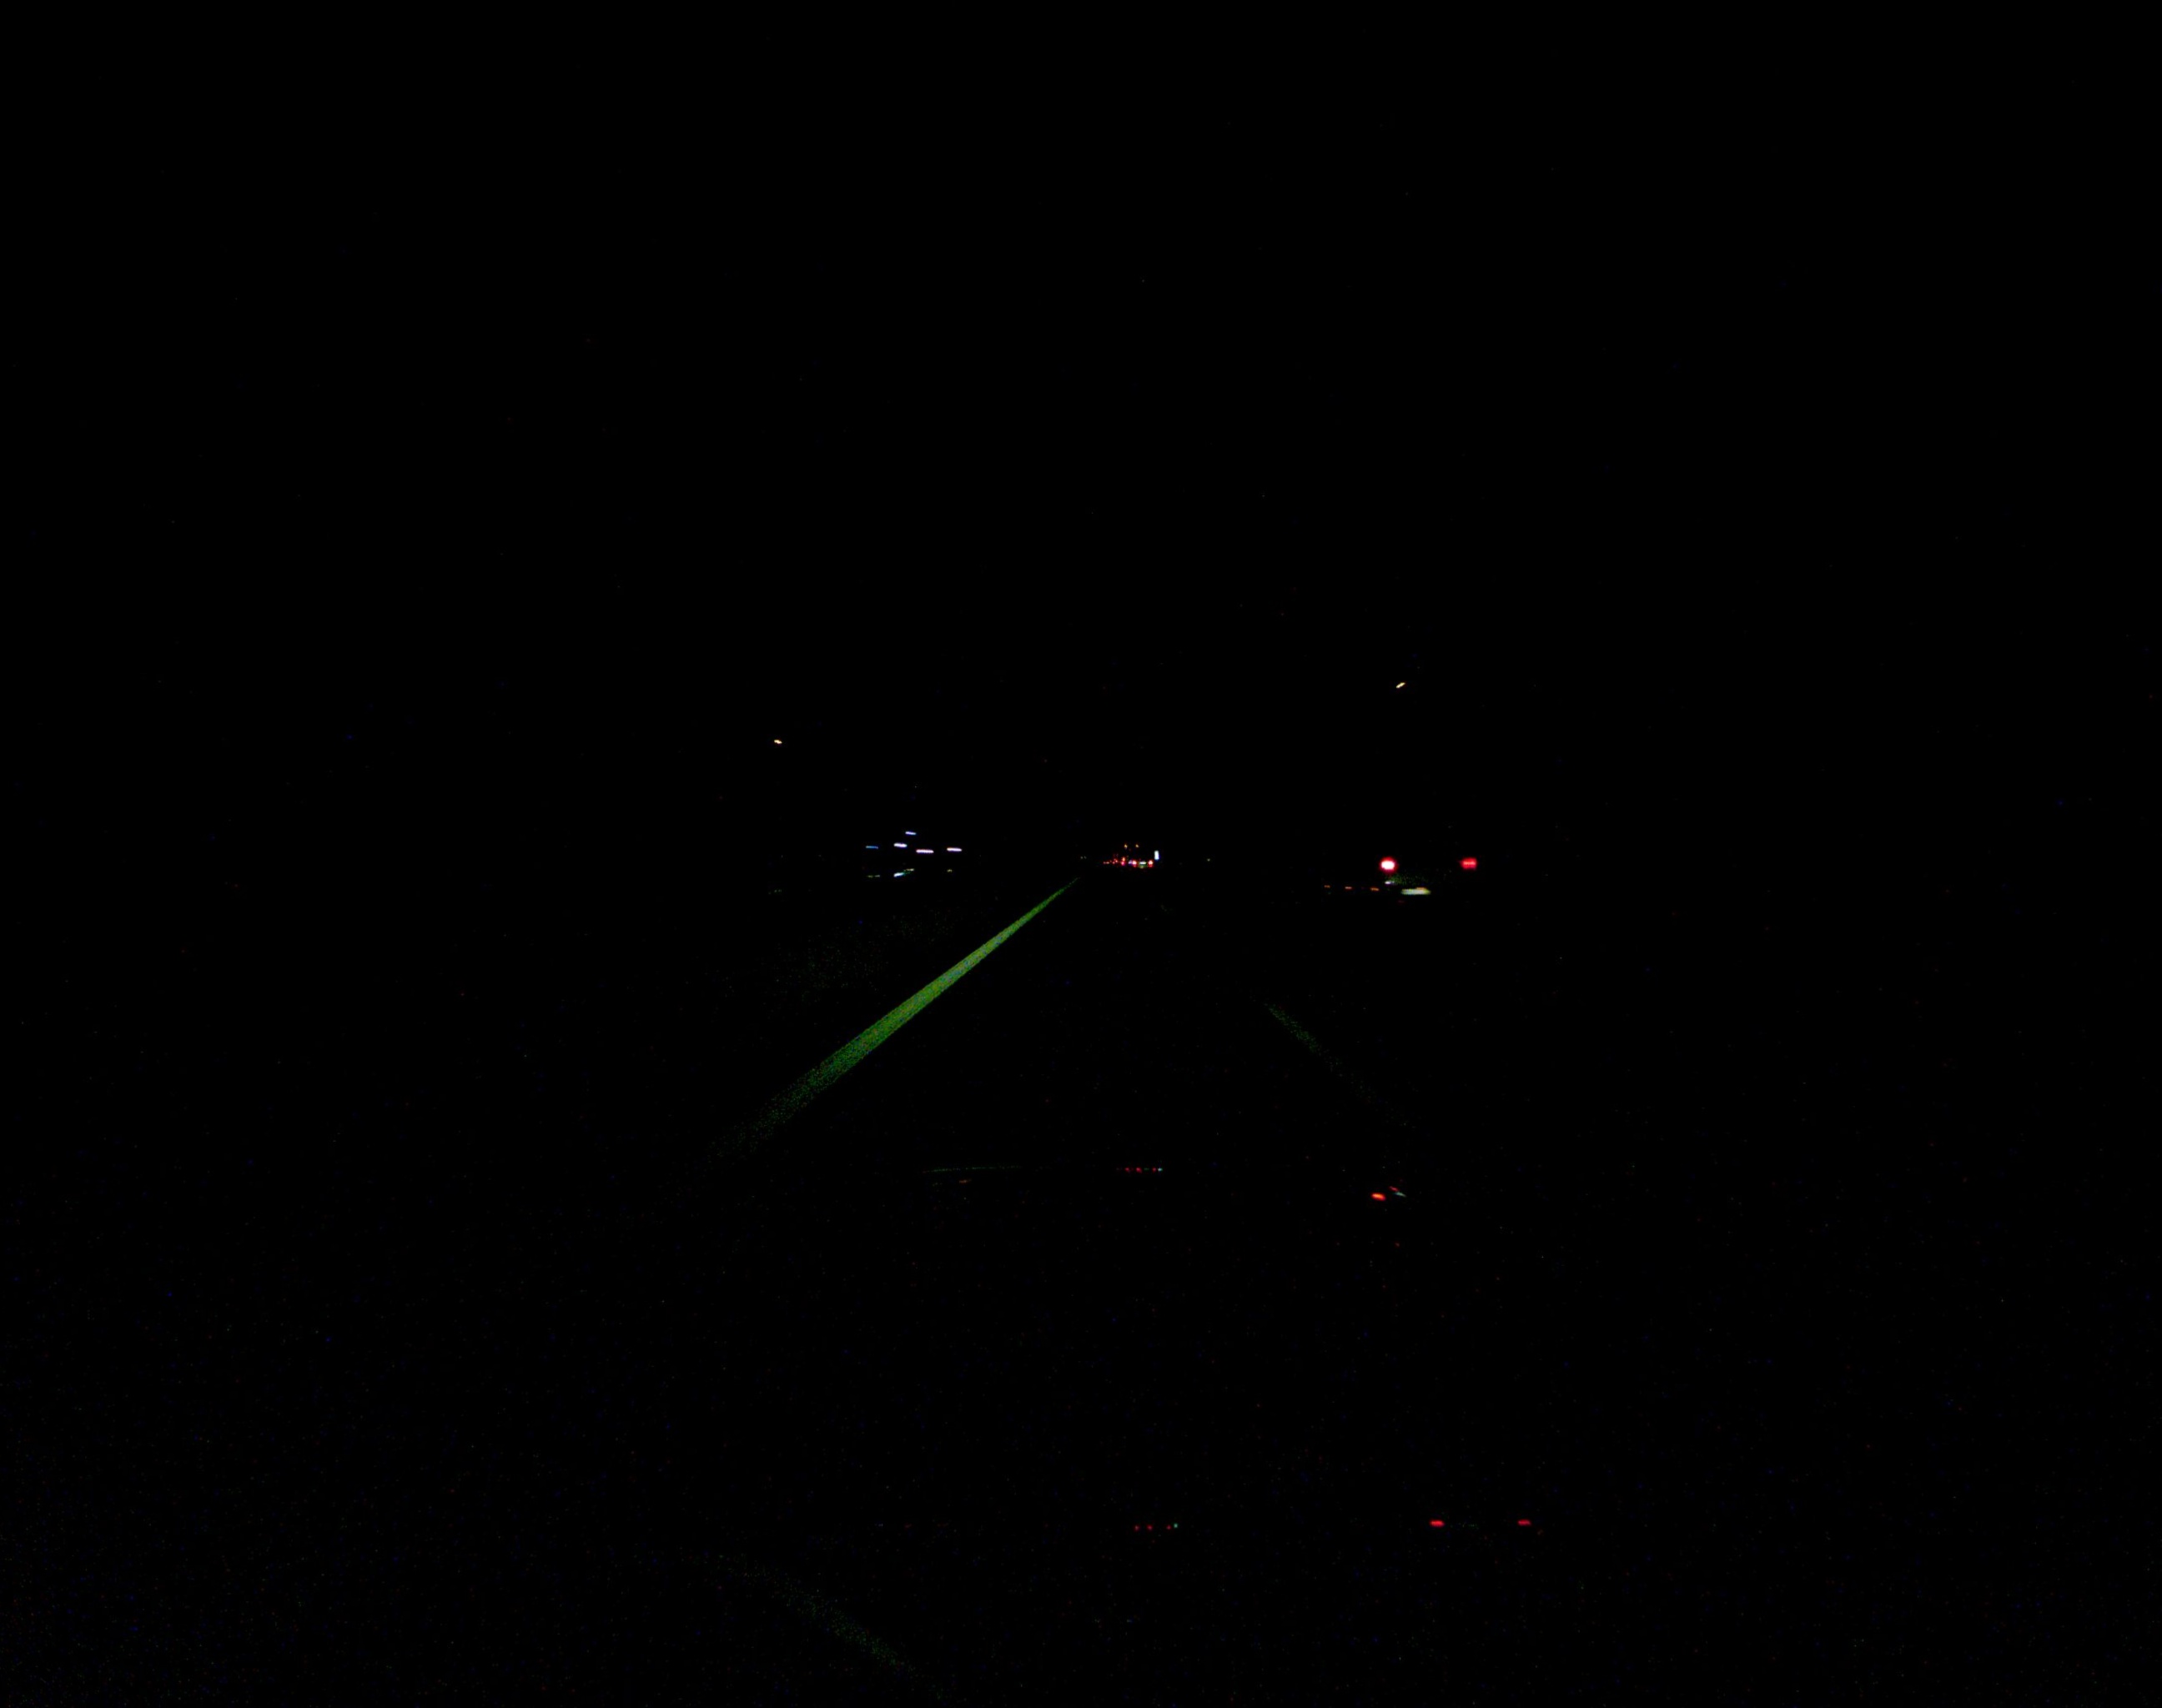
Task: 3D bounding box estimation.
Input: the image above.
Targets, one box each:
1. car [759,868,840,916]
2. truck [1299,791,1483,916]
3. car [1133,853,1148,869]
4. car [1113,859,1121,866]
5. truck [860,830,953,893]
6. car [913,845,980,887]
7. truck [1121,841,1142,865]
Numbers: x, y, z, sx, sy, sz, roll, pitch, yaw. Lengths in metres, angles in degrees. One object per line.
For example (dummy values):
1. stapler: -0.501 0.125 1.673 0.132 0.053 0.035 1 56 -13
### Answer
1. car: -12.090 1.583 35.271 1.893 1.761 4.500 0 1 0
2. truck: 7.642 0.051 21.166 2.069 2.691 7.308 0 -1 1
3. car: 5.522 0.611 75.885 1.341 1.387 3.504 0 1 3
4. car: 8.362 1.945 189.849 1.813 1.466 4.251 0 1 3
5. truck: -13.731 0.332 66.427 3.234 4.488 17.448 0 1 2
6. car: -7.122 0.554 43.989 2.200 2.013 6.948 0 1 2
7. truck: 7.542 -0.214 123.464 3.032 3.324 10.149 0 1 2
